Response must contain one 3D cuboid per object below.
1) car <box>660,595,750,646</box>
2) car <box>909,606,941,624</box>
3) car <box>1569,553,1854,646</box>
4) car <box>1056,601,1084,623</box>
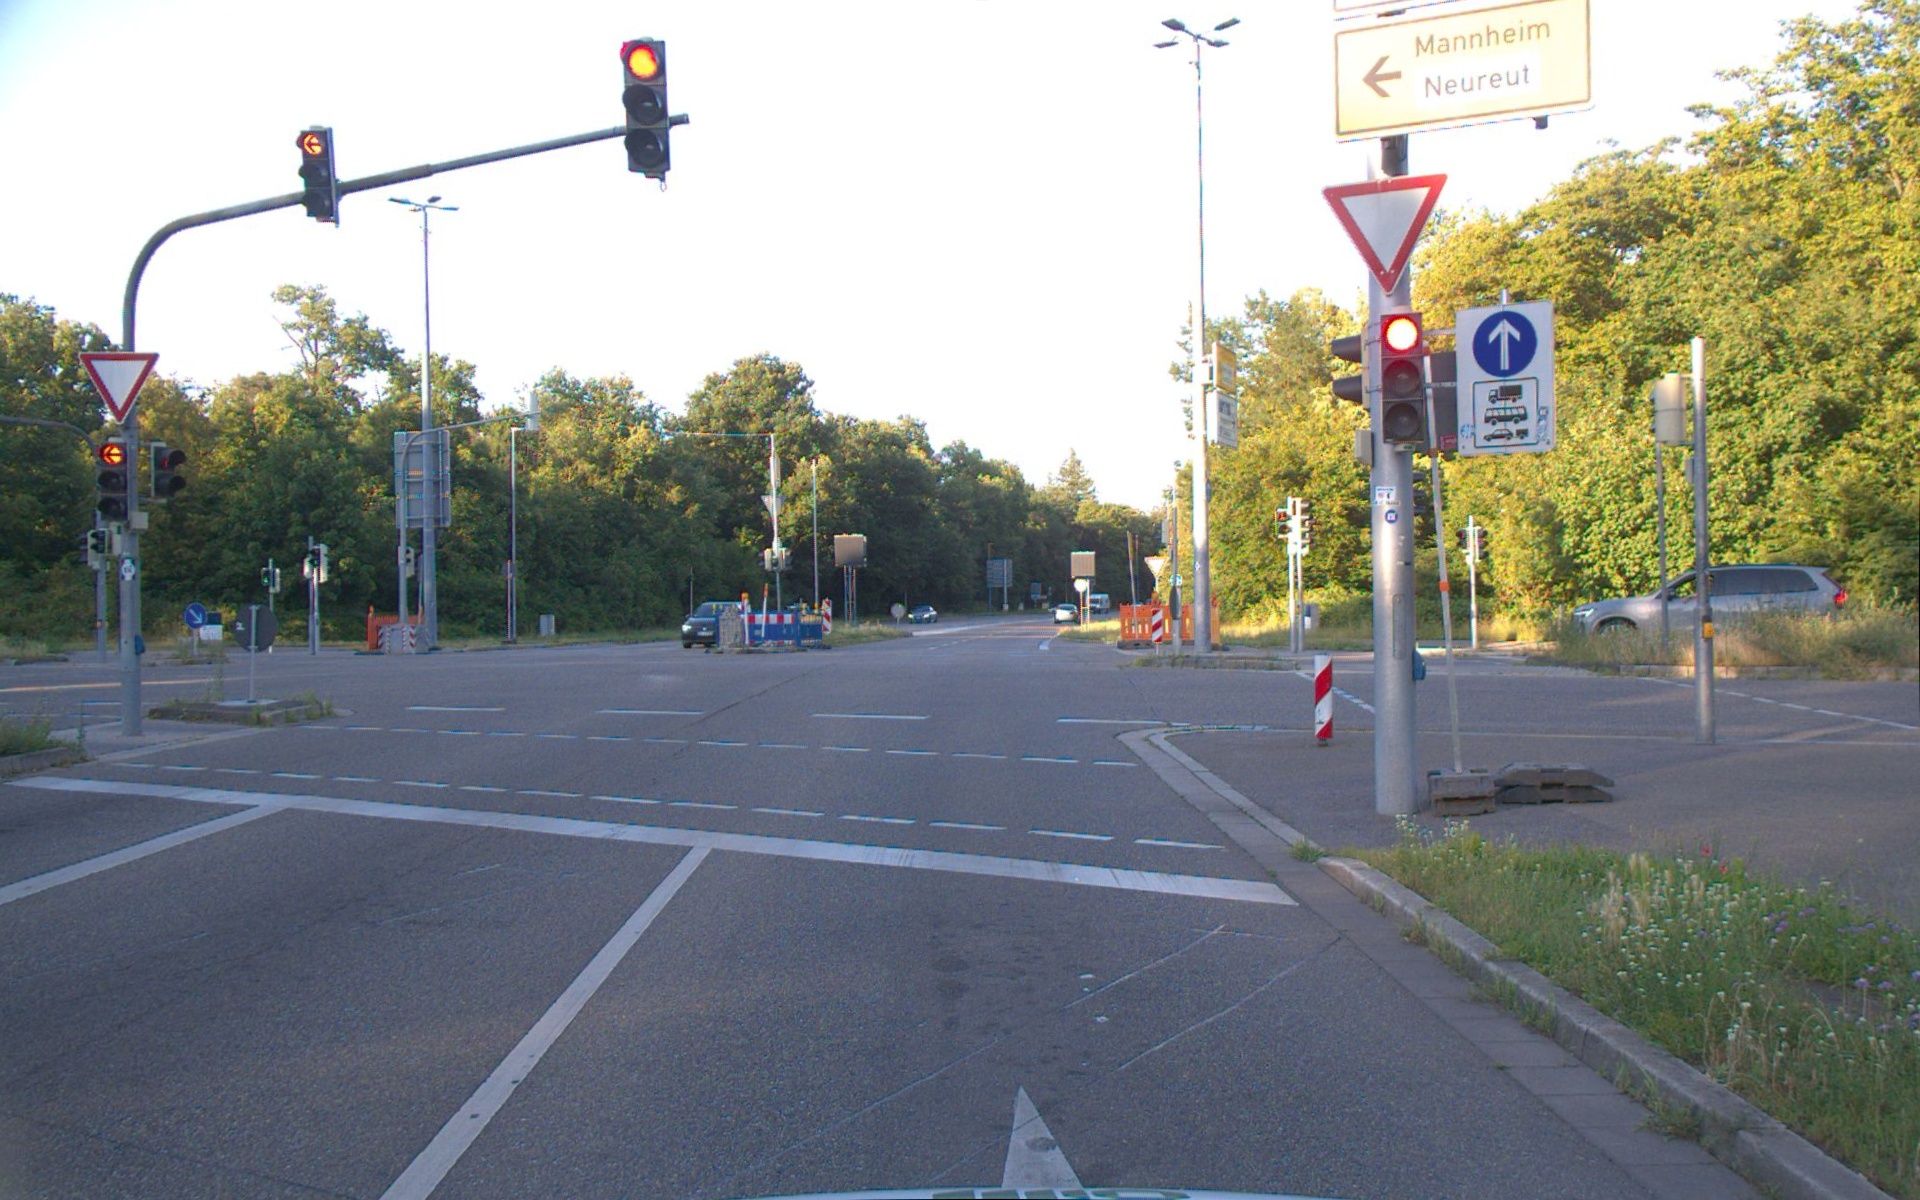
[{"bbox_3d":[-8.177,0.625,53.470,1.952,1.556,4.680,-1,0,3],"label":"car"},{"bbox_3d":[-2.960,1.227,140.187,1.951,1.445,4.004,-1,0,9],"label":"car"},{"bbox_3d":[14.010,0.006,31.143,4.716,1.626,2.000,-1,0,21],"label":"car"},{"bbox_3d":[8.633,0.896,129.162,1.951,1.646,4.003,-1,0,6],"label":"car"}]
